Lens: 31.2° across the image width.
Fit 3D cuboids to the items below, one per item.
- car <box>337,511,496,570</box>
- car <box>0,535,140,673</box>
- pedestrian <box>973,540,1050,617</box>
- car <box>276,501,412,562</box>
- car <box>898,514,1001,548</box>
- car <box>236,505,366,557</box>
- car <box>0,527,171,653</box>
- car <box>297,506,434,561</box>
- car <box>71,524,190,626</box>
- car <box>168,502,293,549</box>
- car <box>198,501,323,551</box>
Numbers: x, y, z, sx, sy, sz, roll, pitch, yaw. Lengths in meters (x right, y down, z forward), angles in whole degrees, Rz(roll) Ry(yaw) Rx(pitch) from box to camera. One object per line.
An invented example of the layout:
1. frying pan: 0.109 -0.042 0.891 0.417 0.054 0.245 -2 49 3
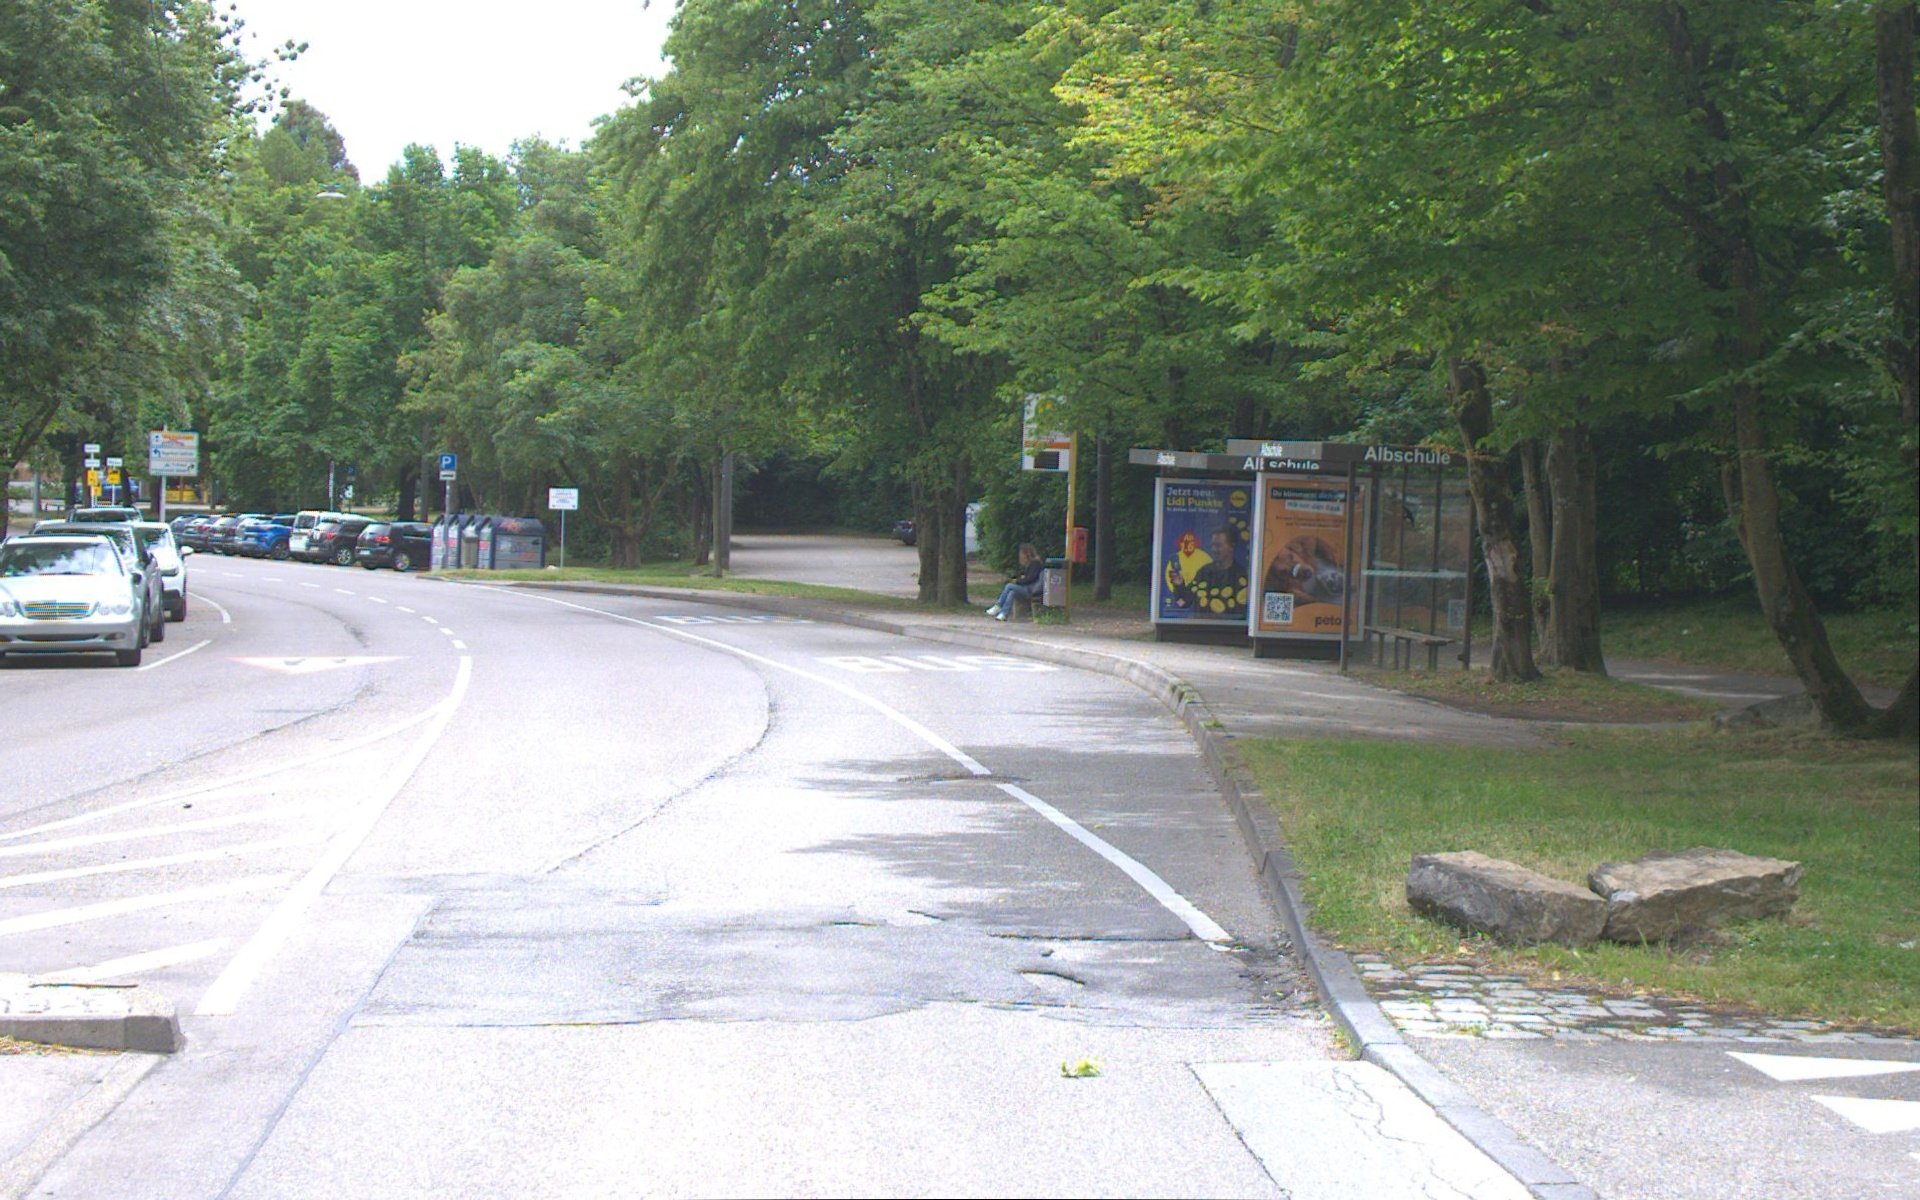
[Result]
1. car: -15.783 -1.731 99.884 3.988 1.409 2.057 3 1 -42
2. car: -10.053 0.000 38.148 1.735 1.411 4.474 -1 1 -15
3. pedestrian: 0.794 -0.341 53.164 1.063 1.178 0.580 0 1 -14
4. car: -19.752 -2.204 110.289 3.820 1.714 1.877 3 -1 -42
5. car: -0.443 -2.901 144.072 3.986 1.405 1.801 0 1 -17
6. car: -21.958 -2.296 114.604 3.820 1.523 1.746 3 -1 -42
7. car: -11.222 -0.171 44.350 1.735 1.532 4.191 0 1 -9
8. car: -18.639 -2.075 107.801 3.820 1.463 1.746 3 1 -42
9. car: -13.435 -0.437 55.864 1.735 1.573 4.143 -1 1 -12
10. car: -25.799 -2.622 121.700 3.874 1.421 1.829 3 -1 -42
11. car: -24.181 -2.551 118.967 3.820 1.523 1.746 3 -1 -42
